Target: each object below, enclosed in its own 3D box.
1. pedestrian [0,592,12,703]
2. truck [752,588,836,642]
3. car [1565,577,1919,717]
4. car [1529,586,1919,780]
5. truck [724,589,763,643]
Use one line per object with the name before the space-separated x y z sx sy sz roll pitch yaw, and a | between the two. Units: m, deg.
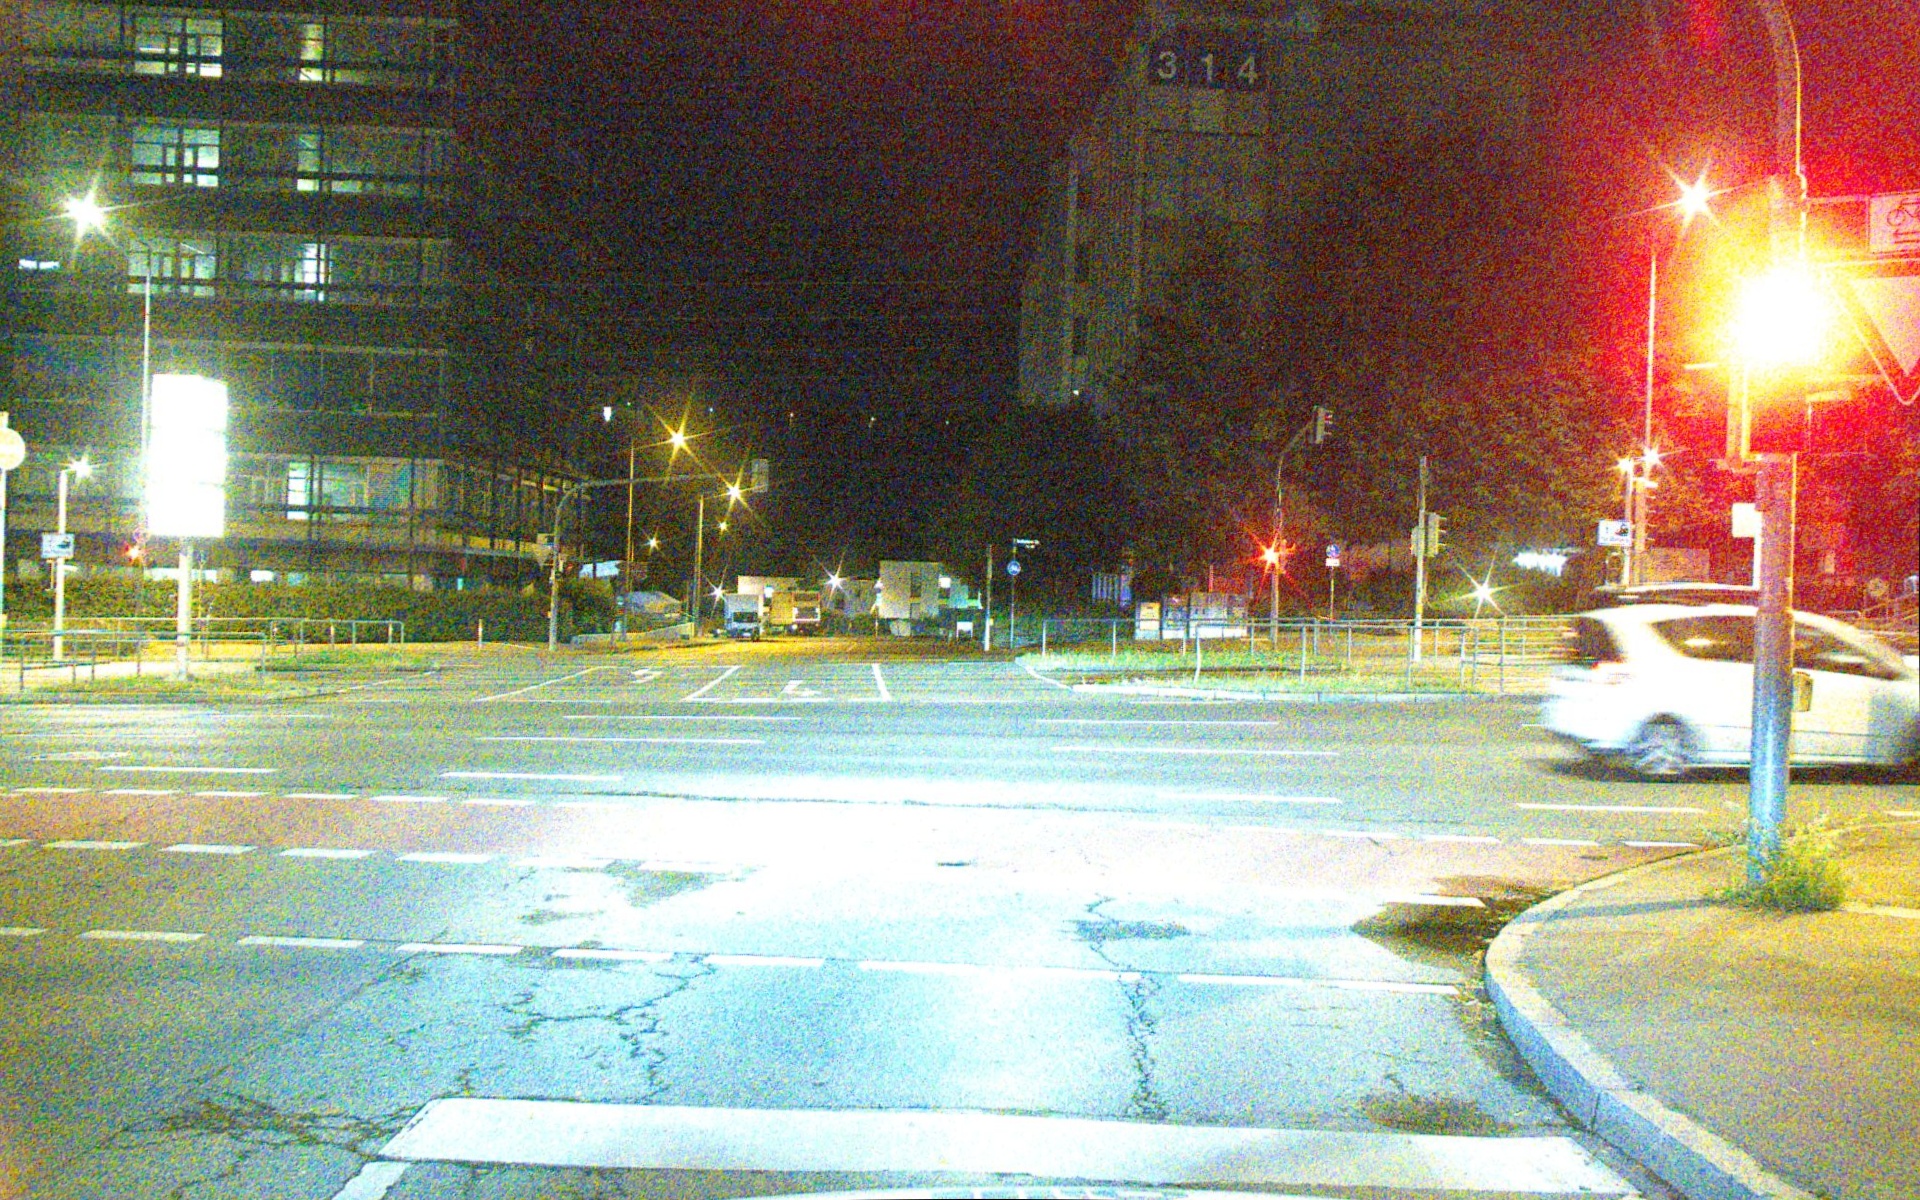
pedestrian | -14.714 0.707 24.664 0.656 1.663 0.862 1 -1 -5
truck | -15.302 1.296 150.972 4.751 4.627 12.593 1 0 -19
car | 10.343 0.567 21.407 4.353 1.688 1.865 0 2 2
car | 7.690 0.745 15.794 3.904 1.691 1.811 1 1 3
truck | -15.635 1.135 119.138 2.535 3.772 5.724 1 0 -9
